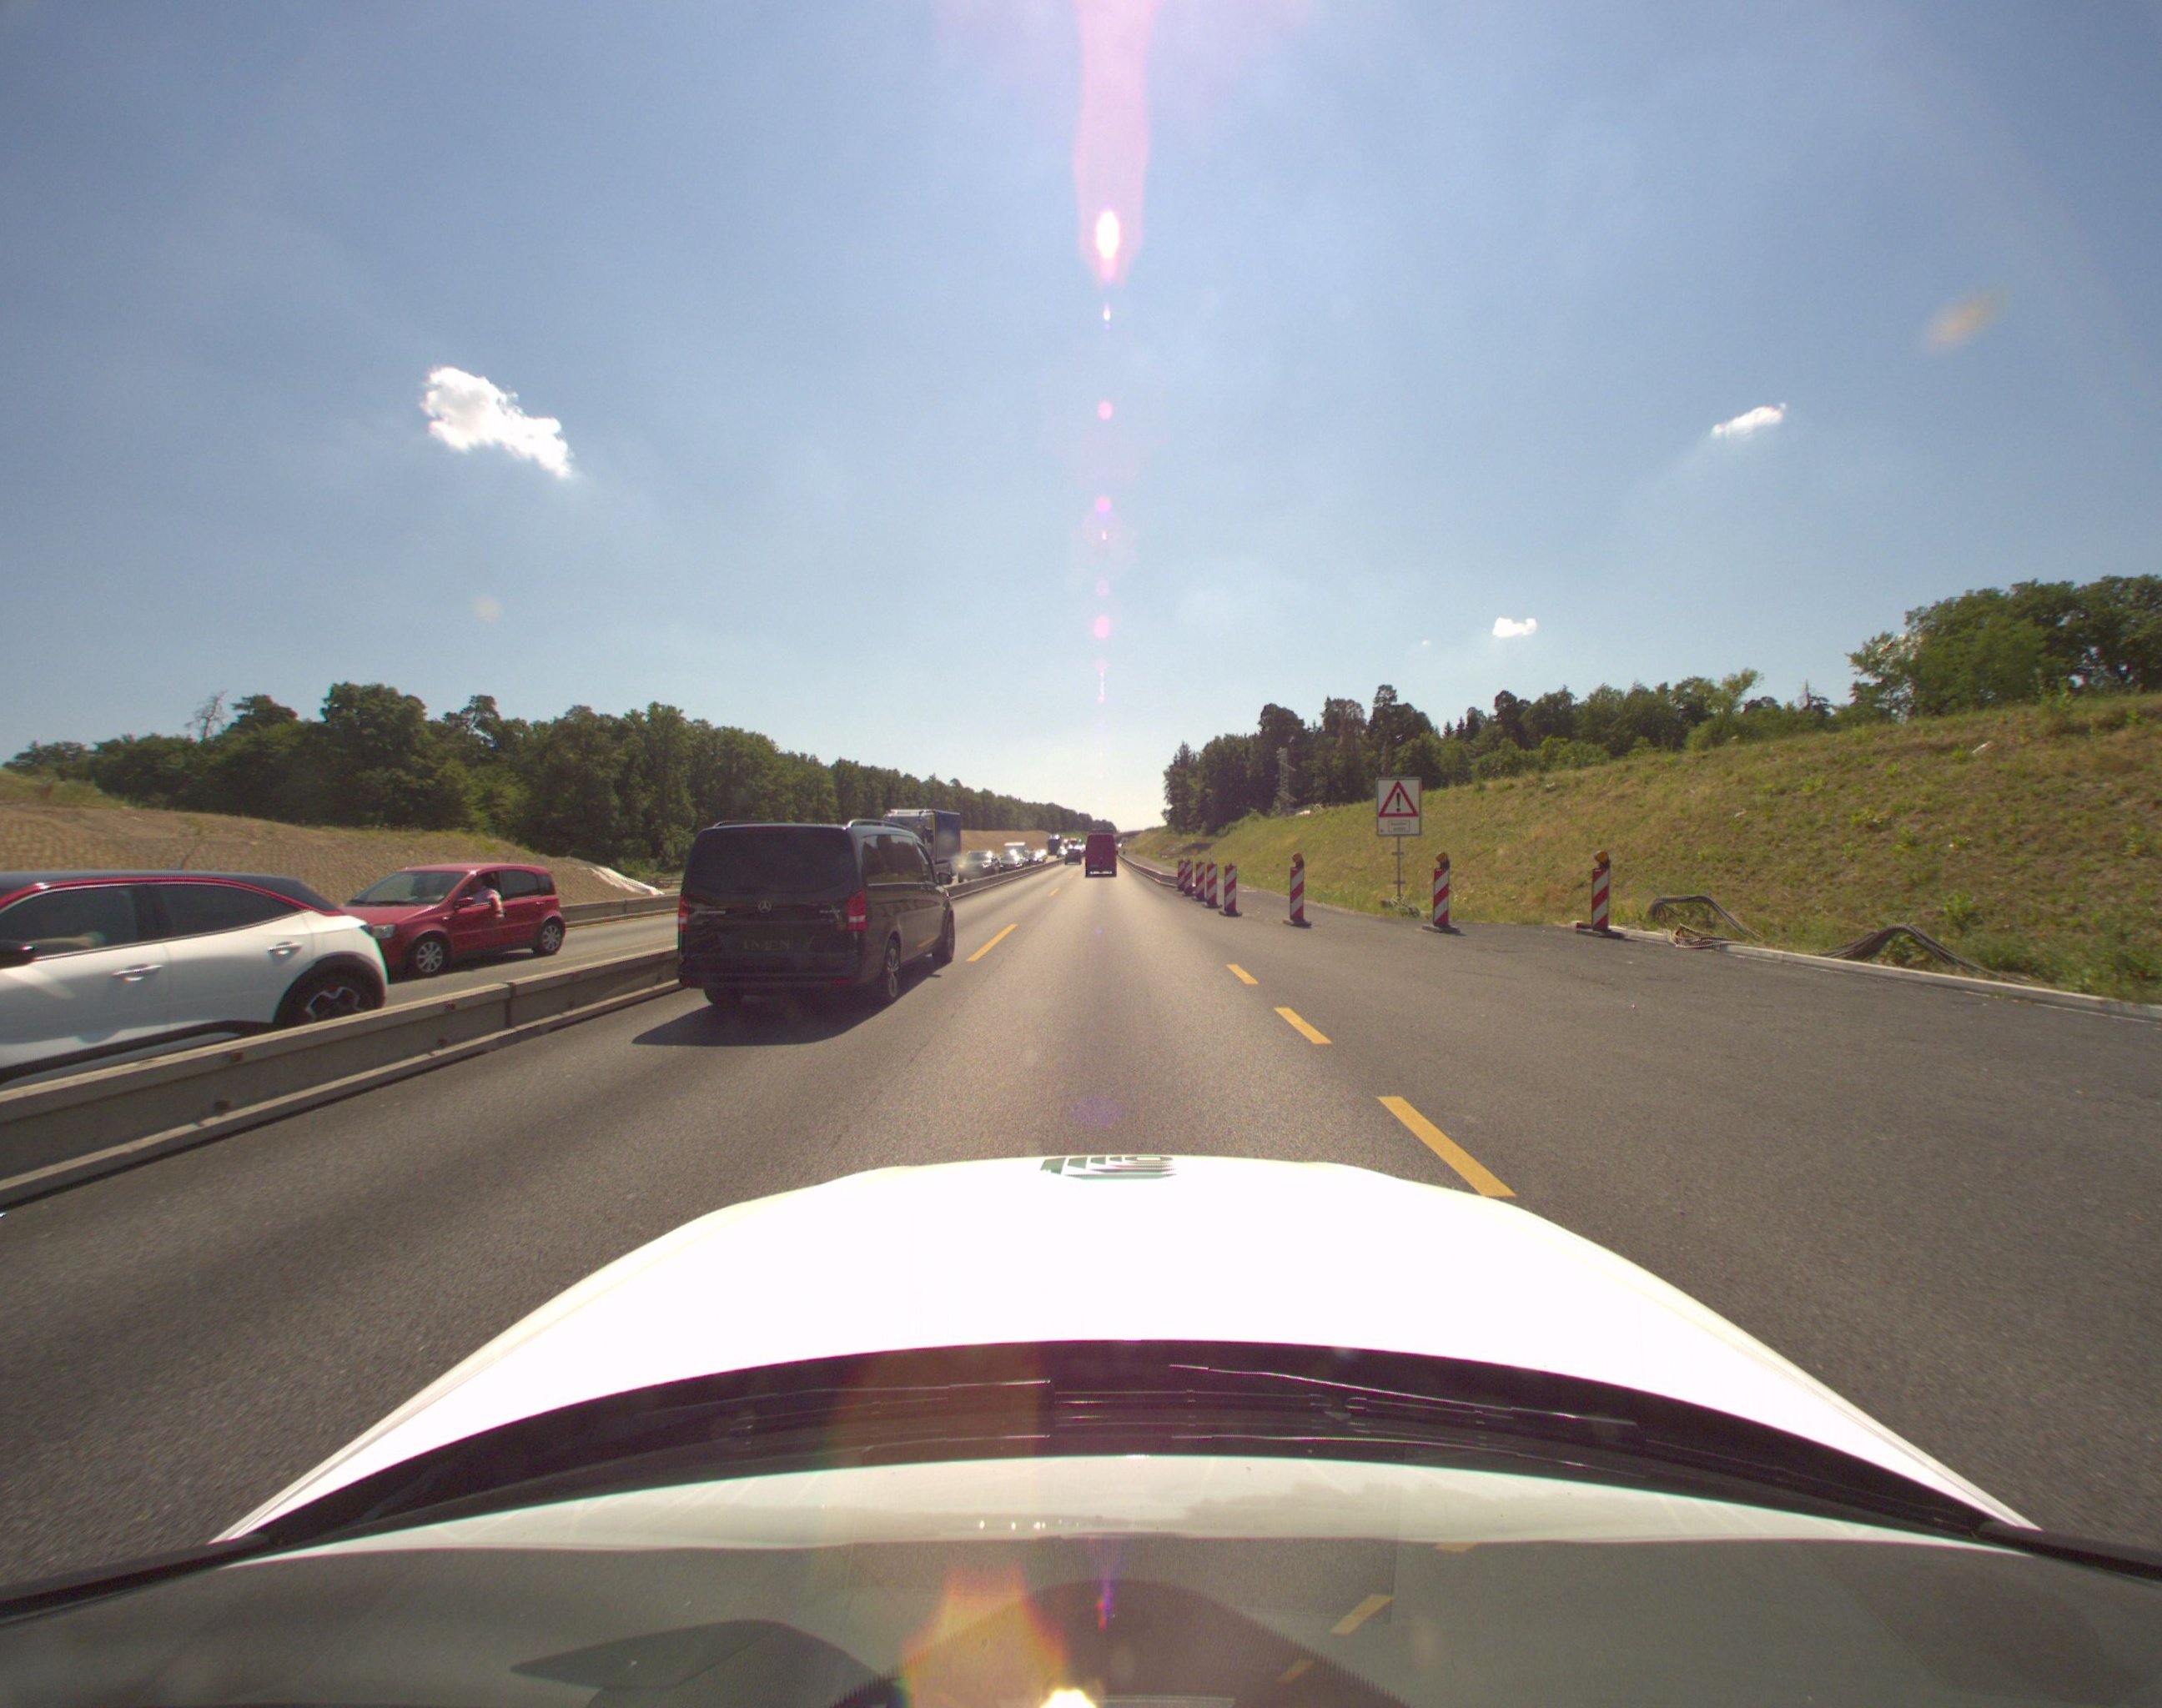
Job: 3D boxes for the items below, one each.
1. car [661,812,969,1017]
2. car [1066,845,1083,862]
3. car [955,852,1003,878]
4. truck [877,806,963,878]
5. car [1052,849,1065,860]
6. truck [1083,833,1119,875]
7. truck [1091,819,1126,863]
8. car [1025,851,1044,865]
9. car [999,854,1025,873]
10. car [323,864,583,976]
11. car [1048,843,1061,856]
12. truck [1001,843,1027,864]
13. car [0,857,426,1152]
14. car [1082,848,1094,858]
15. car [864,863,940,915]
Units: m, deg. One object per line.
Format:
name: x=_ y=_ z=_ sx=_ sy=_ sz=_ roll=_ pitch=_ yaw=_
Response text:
car: x=-2.787 y=0.571 z=10.112 sx=1.867 sy=1.851 sz=5.480 roll=0 pitch=-1 yaw=2
car: x=-0.693 y=0.000 z=89.725 sx=1.745 sy=1.824 sz=4.784 roll=0 pitch=0 yaw=2
car: x=-5.396 y=0.600 z=43.479 sx=1.834 sy=1.327 sz=3.944 roll=0 pitch=-1 yaw=3
truck: x=-8.795 y=-0.486 z=45.742 sx=2.499 sy=3.617 sz=9.646 roll=0 pitch=-1 yaw=2
car: x=-3.708 y=0.130 z=134.685 sx=1.769 sy=1.670 sz=3.842 roll=0 pitch=-1 yaw=2
truck: x=1.233 y=0.050 z=51.928 sx=2.146 sy=2.590 sz=5.331 roll=0 pitch=-1 yaw=0
truck: x=3.783 y=-1.535 z=112.014 sx=4.384 sy=5.496 sz=16.608 roll=0 pitch=-1 yaw=2
car: x=-4.638 y=0.374 z=81.496 sx=1.458 sy=1.327 sz=3.373 roll=0 pitch=-1 yaw=3
car: x=-5.068 y=0.708 z=60.388 sx=1.458 sy=1.327 sz=3.373 roll=0 pitch=-1 yaw=3
car: x=-9.183 y=0.891 z=12.234 sx=1.371 sy=1.462 sz=3.153 roll=0 pitch=-1 yaw=1
car: x=-5.339 y=-0.874 z=164.415 sx=2.377 sy=2.580 sz=3.999 roll=0 pitch=-1 yaw=0
truck: x=-7.824 y=0.005 z=95.994 sx=2.390 sy=2.358 sz=5.229 roll=0 pitch=-1 yaw=2
car: x=-6.490 y=0.812 z=4.896 sx=1.618 sy=1.557 sz=4.072 roll=0 pitch=-1 yaw=3
car: x=1.082 y=-0.149 z=129.713 sx=1.824 sy=1.522 sz=3.962 roll=0 pitch=-1 yaw=2
car: x=-5.801 y=1.122 z=26.728 sx=1.677 sy=1.596 sz=3.225 roll=0 pitch=-1 yaw=1
